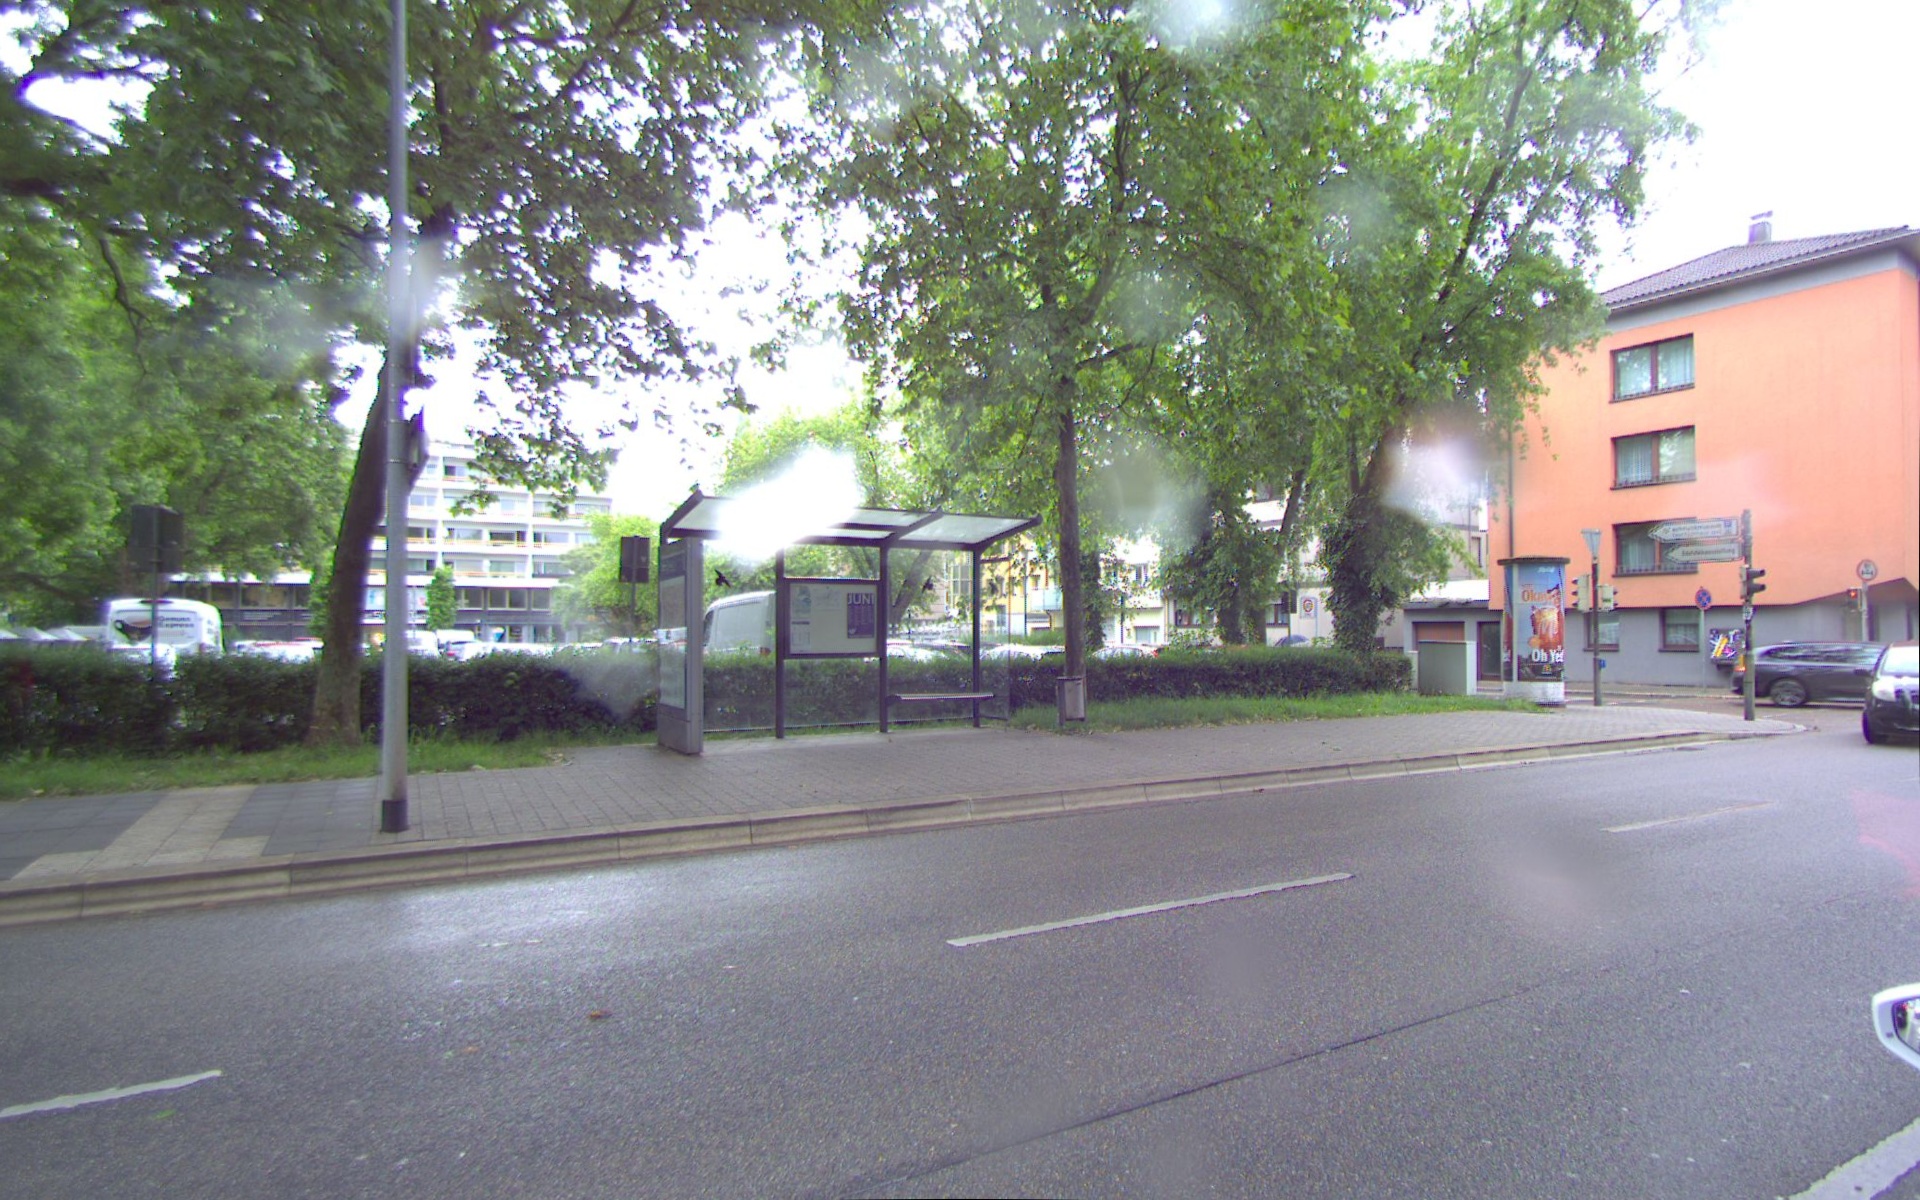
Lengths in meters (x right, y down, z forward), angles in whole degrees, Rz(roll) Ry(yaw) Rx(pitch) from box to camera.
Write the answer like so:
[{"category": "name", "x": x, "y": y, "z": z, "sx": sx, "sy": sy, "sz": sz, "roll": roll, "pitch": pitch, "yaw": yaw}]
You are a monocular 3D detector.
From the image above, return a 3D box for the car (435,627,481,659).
[{"category": "car", "x": -26.989, "y": 2.266, "z": 53.938, "sx": 1.876, "sy": 1.506, "sz": 3.966, "roll": 2, "pitch": 0, "yaw": -31}]

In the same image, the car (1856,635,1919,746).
[{"category": "car", "x": 14.962, "y": 1.311, "z": 15.213, "sx": 3.841, "sy": 1.553, "sz": 1.778, "roll": 2, "pitch": -4, "yaw": -44}]

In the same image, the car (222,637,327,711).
[{"category": "car", "x": -16.880, "y": 1.756, "z": 24.895, "sx": 1.876, "sy": 1.506, "sz": 3.966, "roll": 2, "pitch": 0, "yaw": -31}]

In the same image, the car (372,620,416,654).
[{"category": "car", "x": -32.499, "y": 2.102, "z": 57.608, "sx": 2.075, "sy": 1.745, "sz": 3.966, "roll": 2, "pitch": 0, "yaw": -31}]

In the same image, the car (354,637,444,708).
[{"category": "car", "x": -14.630, "y": 1.824, "z": 26.113, "sx": 1.876, "sy": 1.506, "sz": 3.966, "roll": 2, "pitch": 0, "yaw": -31}]

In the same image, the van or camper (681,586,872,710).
[{"category": "van or camper", "x": -3.530, "y": 0.849, "z": 18.584, "sx": 1.978, "sy": 1.975, "sz": 4.572, "roll": 1, "pitch": -2, "yaw": -31}]

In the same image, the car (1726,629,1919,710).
[{"category": "car", "x": 20.017, "y": 1.528, "z": 22.526, "sx": 1.715, "sy": 1.700, "sz": 4.262, "roll": 2, "pitch": -3, "yaw": -41}]

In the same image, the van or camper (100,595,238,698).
[{"category": "van or camper", "x": -20.676, "y": 1.204, "z": 26.466, "sx": 2.073, "sy": 2.463, "sz": 4.310, "roll": 1, "pitch": -2, "yaw": -28}]

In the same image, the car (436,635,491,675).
[{"category": "car", "x": -22.131, "y": 2.410, "z": 44.684, "sx": 1.876, "sy": 1.506, "sz": 3.966, "roll": 2, "pitch": 0, "yaw": -31}]

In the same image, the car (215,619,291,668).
[{"category": "car", "x": -25.075, "y": 1.513, "z": 35.734, "sx": 1.876, "sy": 1.506, "sz": 3.966, "roll": 2, "pitch": 0, "yaw": -31}]

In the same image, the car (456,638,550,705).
[{"category": "car", "x": -12.536, "y": 1.888, "z": 27.405, "sx": 1.876, "sy": 1.506, "sz": 3.966, "roll": 2, "pitch": 0, "yaw": -31}]
